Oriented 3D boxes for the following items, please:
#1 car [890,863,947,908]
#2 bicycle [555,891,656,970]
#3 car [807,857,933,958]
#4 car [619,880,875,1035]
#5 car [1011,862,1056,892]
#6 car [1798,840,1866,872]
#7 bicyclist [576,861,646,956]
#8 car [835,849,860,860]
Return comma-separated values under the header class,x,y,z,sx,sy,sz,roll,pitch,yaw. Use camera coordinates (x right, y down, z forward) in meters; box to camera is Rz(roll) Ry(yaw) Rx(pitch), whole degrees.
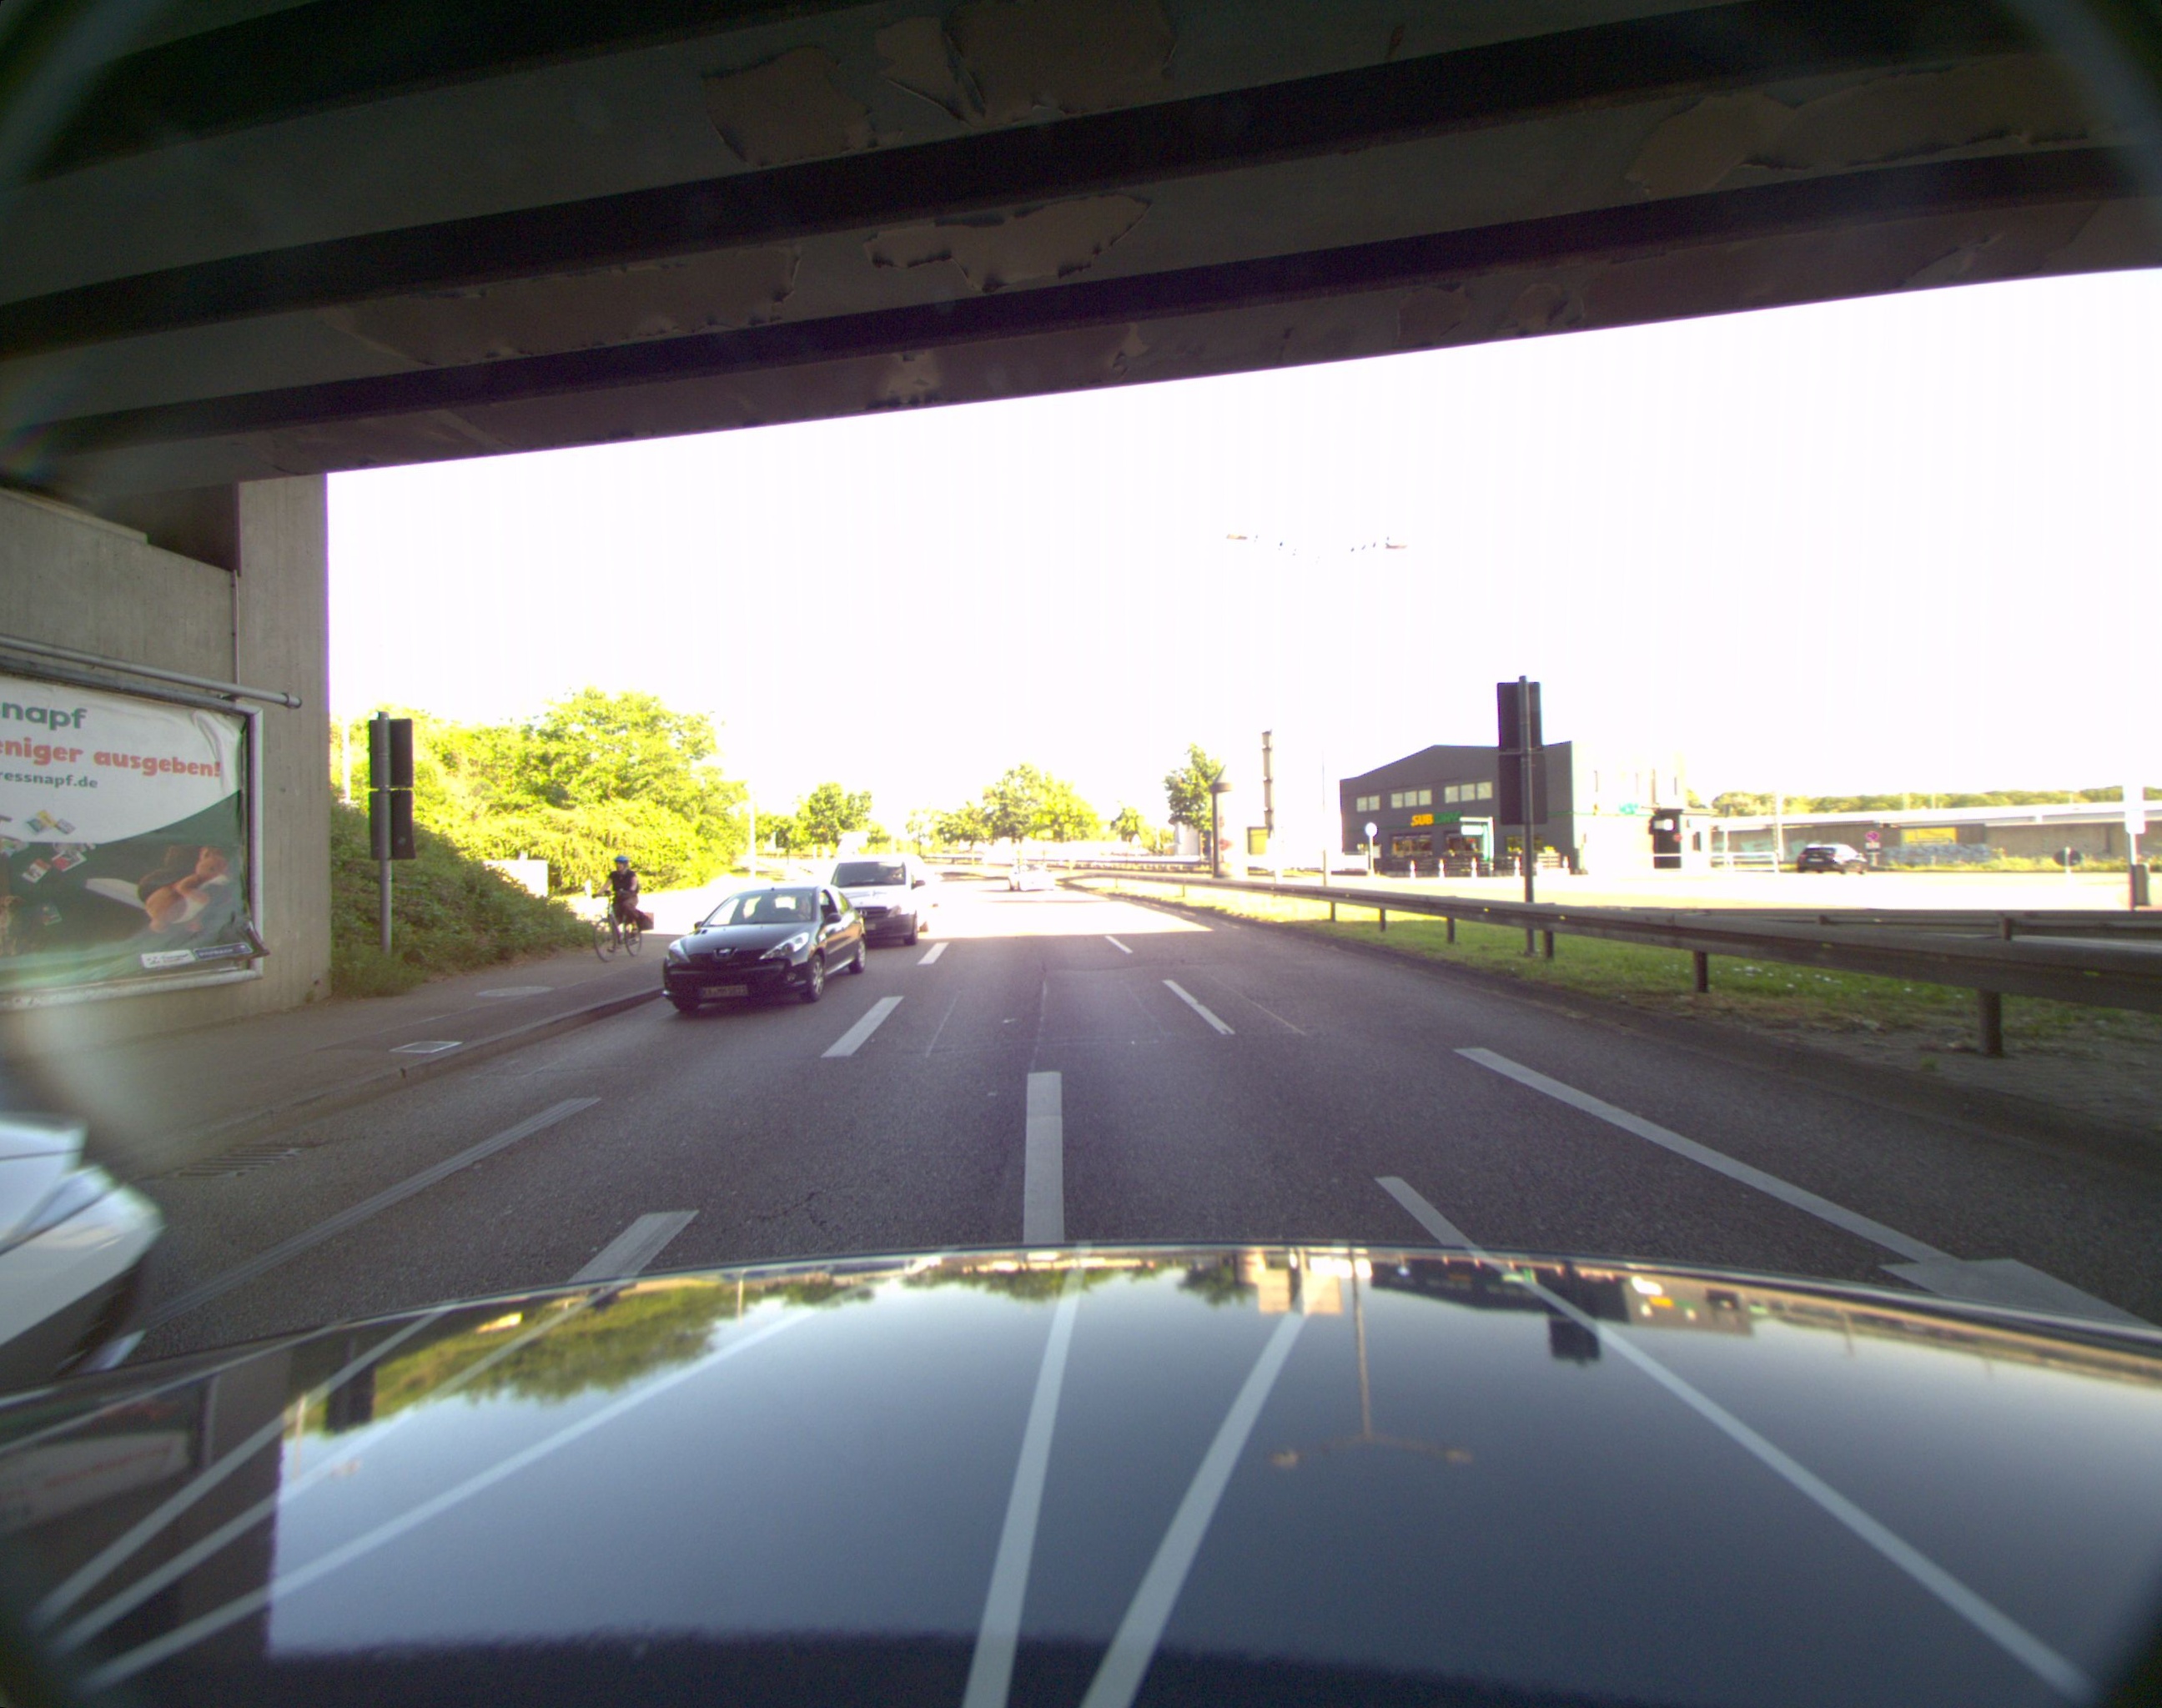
class,x,y,z,sx,sy,sz,roll,pitch,yaw
car,-6.464,1.208,30.651,2.000,1.542,4.417,-2,0,-9
bicycle,-7.825,1.219,12.591,0.653,1.160,1.778,1,-1,-5
car,-4.443,1.010,16.752,1.903,1.825,4.832,-2,0,-7
car,-4.046,1.167,9.933,1.750,1.447,3.716,-2,0,-2
car,-2.546,1.169,39.800,1.738,1.396,3.867,-2,0,-13
car,38.437,0.089,38.865,4.007,1.434,1.878,-3,1,-37
bicyclist,-7.822,0.892,12.669,0.655,1.524,0.846,1,-1,-5
car,-36.091,0.133,117.614,4.283,1.597,1.810,-1,1,44
